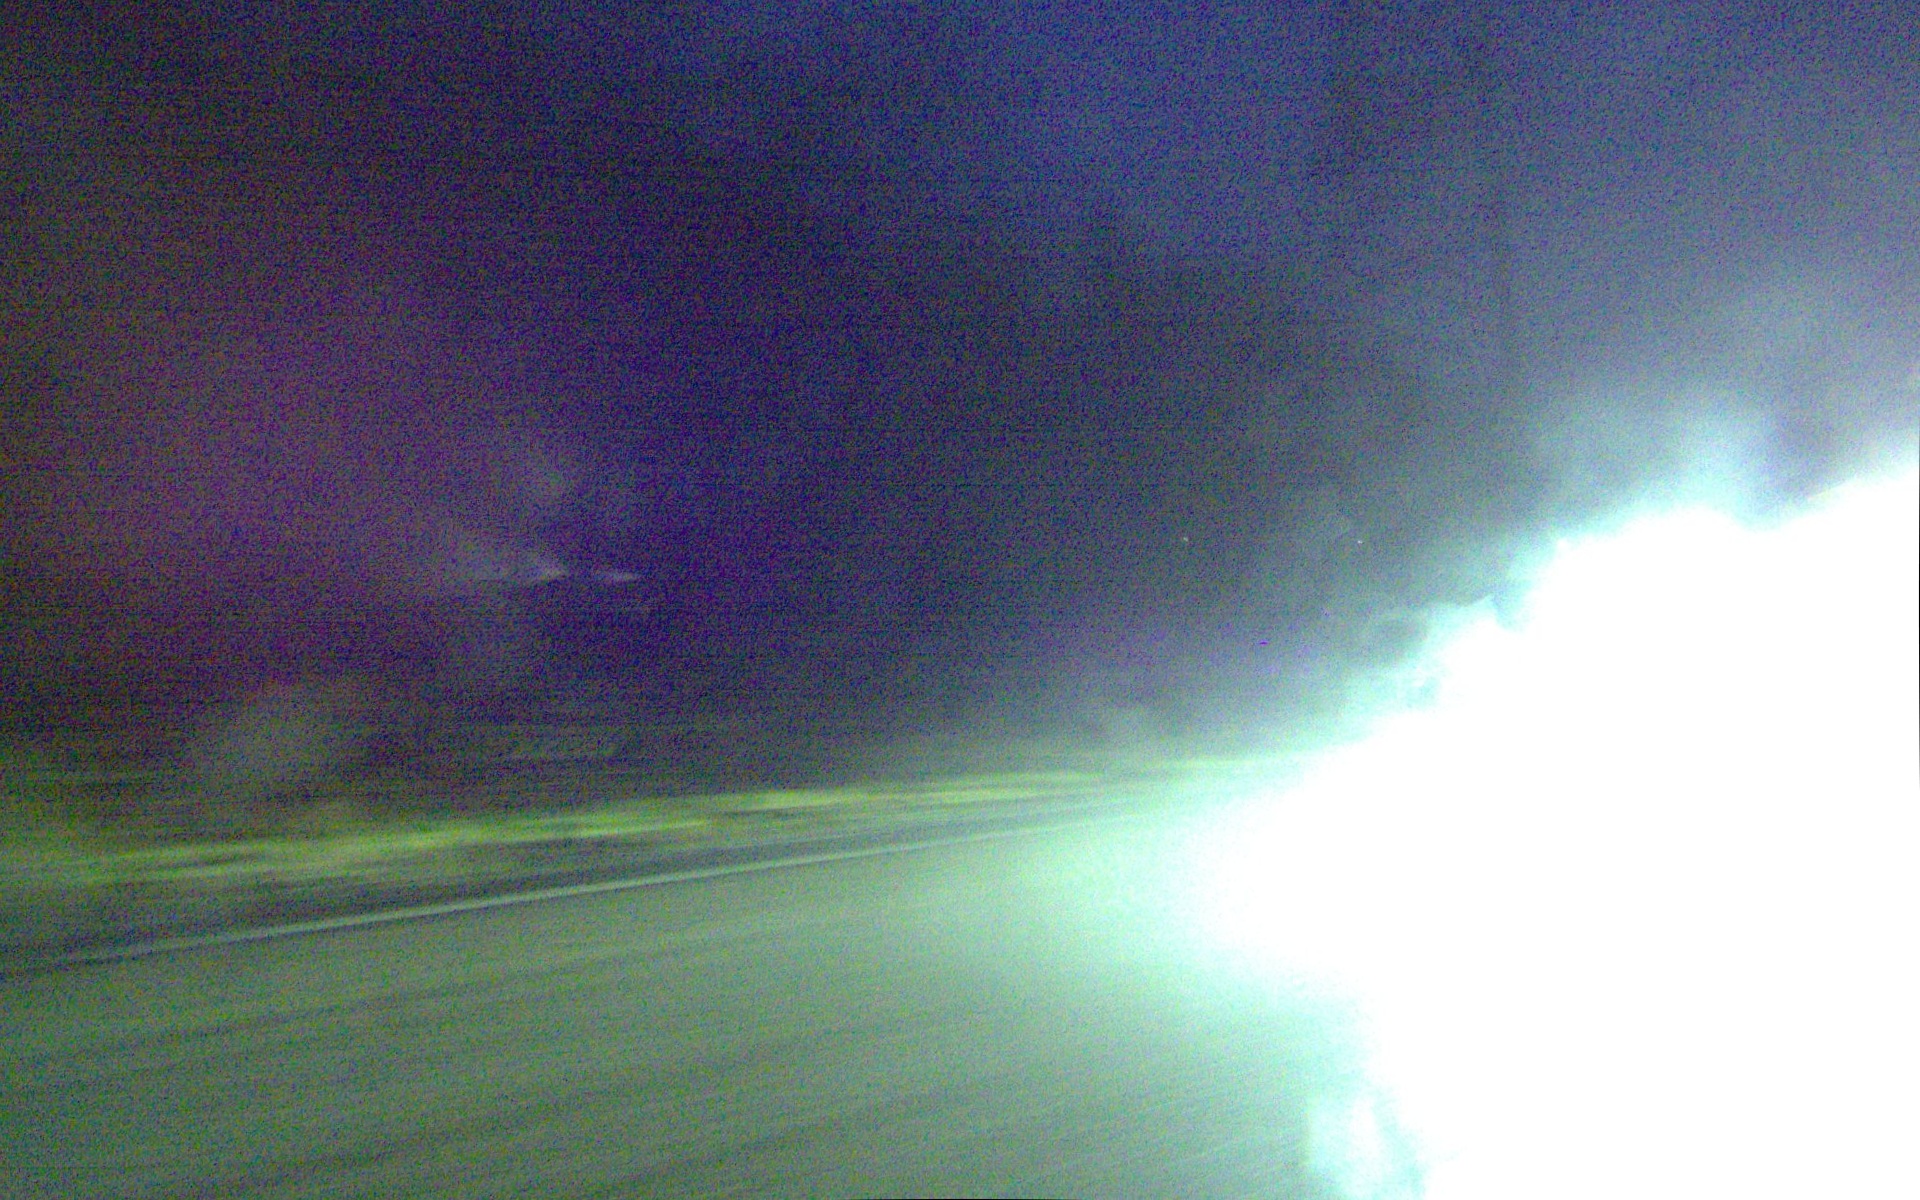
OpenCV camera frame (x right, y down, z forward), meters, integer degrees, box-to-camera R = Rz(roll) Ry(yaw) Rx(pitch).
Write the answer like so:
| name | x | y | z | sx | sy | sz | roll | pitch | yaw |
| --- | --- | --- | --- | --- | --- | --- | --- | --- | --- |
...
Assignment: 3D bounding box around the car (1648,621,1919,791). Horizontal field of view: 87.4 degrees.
| name | x | y | z | sx | sy | sz | roll | pitch | yaw |
| --- | --- | --- | --- | --- | --- | --- | --- | --- | --- |
| car | 8.970 | 0.991 | 10.465 | 3.998 | 1.407 | 1.759 | 3 | -1 | -37 |
